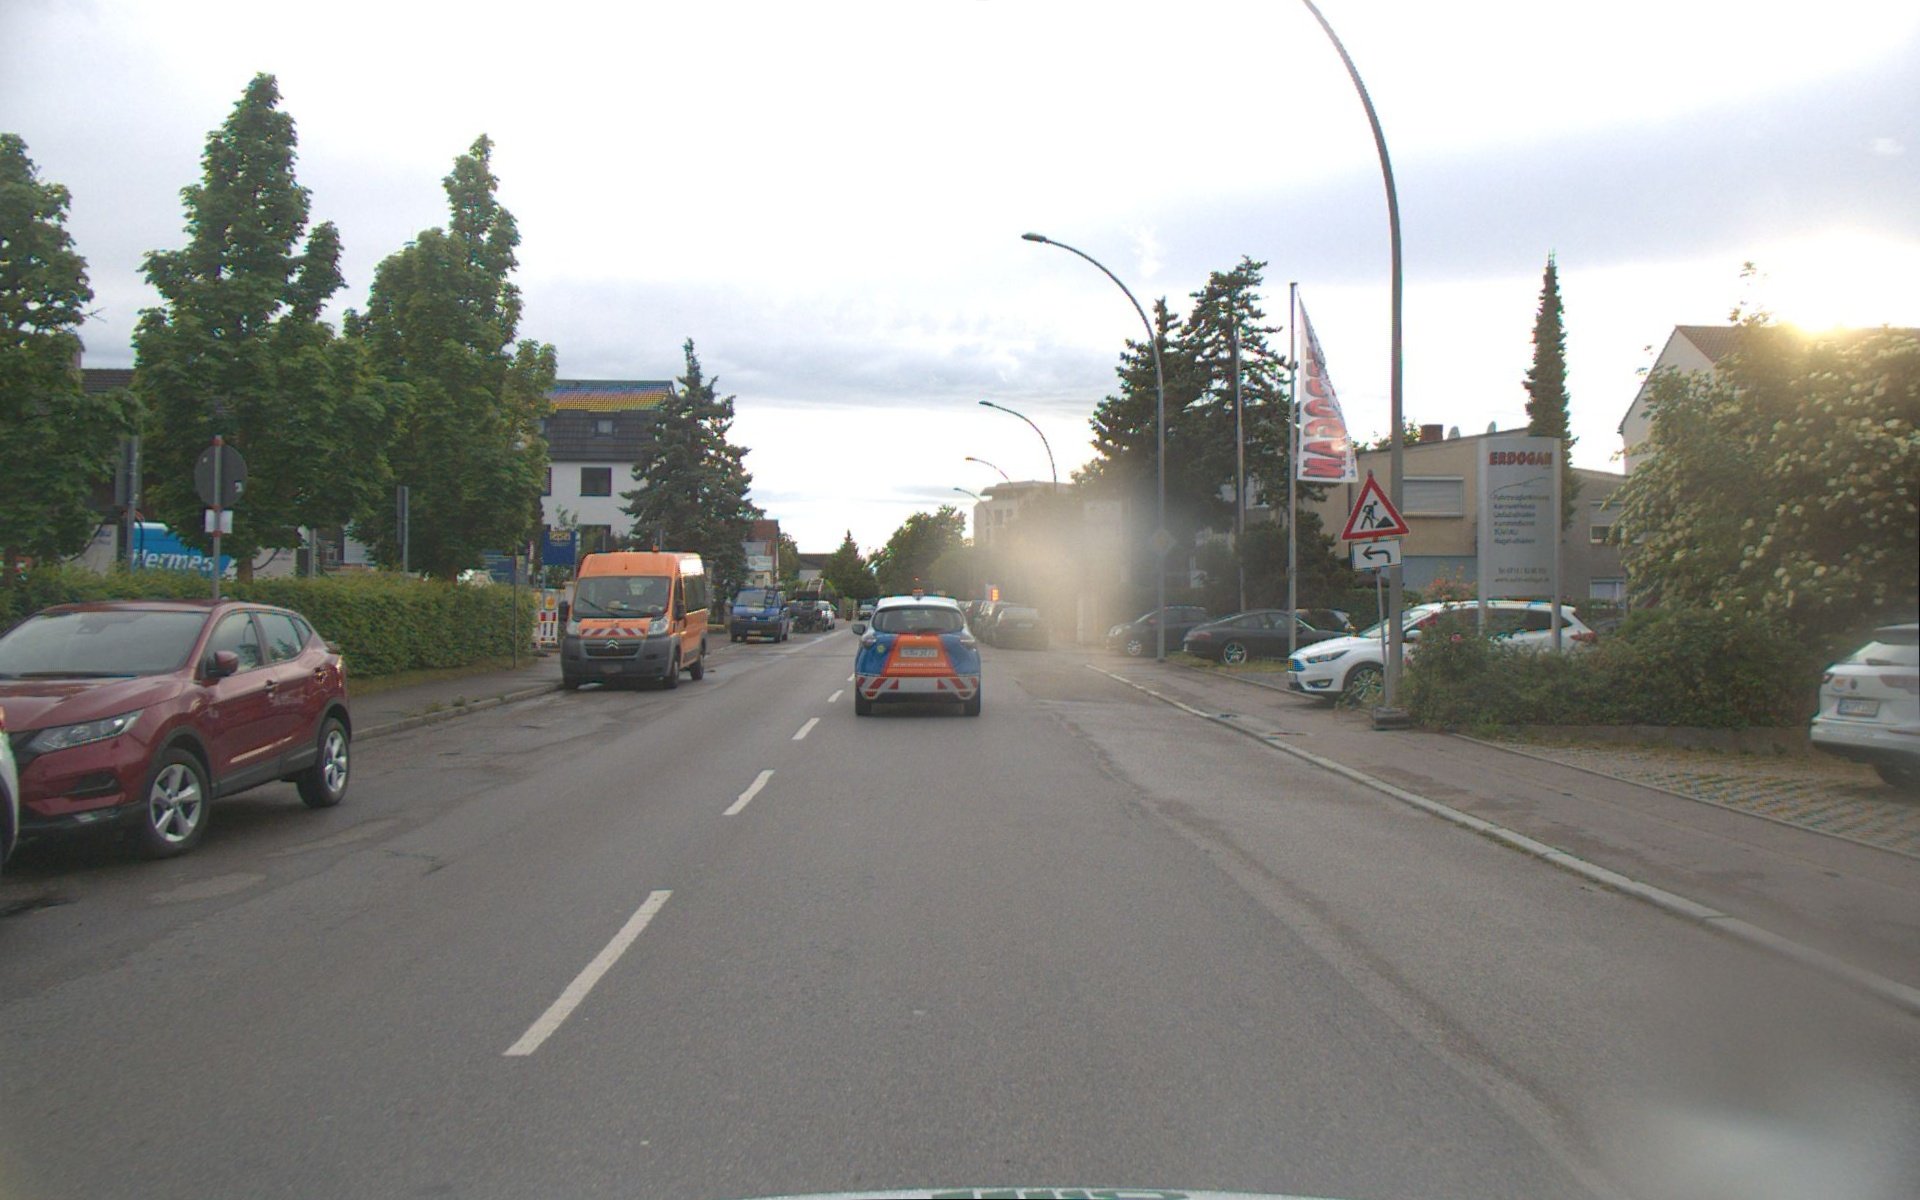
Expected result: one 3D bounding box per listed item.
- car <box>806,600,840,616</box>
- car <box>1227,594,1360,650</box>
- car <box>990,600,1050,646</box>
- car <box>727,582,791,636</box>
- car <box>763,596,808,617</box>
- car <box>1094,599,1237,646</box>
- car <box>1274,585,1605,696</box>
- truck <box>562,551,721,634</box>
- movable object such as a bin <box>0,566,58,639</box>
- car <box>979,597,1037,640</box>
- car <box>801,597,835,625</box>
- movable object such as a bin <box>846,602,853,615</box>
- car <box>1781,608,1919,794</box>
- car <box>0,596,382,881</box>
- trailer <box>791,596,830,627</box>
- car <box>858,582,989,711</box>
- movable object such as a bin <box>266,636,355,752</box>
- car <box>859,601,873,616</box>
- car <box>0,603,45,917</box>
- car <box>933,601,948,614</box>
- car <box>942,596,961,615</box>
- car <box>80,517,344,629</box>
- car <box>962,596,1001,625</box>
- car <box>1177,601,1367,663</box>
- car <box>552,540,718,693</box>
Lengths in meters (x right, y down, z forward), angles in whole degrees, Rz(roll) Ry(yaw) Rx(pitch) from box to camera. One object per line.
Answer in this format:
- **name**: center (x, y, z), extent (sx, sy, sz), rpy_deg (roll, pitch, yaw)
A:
- **car**: center (-13.089, 0.743, 157.825), extent (3.218, 1.473, 1.478), rpy_deg (-1, 0, -6)
- **car**: center (9.906, 0.648, 49.291), extent (3.542, 1.565, 1.858), rpy_deg (1, -1, -3)
- **car**: center (1.938, 0.721, 54.291), extent (1.558, 1.364, 4.090), rpy_deg (3, 0, -3)
- **car**: center (-7.615, 0.350, 63.152), extent (1.953, 1.981, 5.363), rpy_deg (0, -1, -2)
- **car**: center (-13.779, 0.536, 130.944), extent (3.511, 1.553, 1.653), rpy_deg (1, -1, -6)
- **car**: center (6.051, 0.659, 48.972), extent (3.907, 1.288, 1.950), rpy_deg (1, -1, -3)
- **car**: center (6.910, 0.572, 24.114), extent (4.251, 1.501, 1.902), rpy_deg (1, -1, -2)
- **truck**: center (-12.656, -0.291, 66.064), extent (5.791, 3.127, 2.449), rpy_deg (1, -1, -1)
- **movable object such as a bin**: center (-24.888, 0.030, 41.552), extent (3.357, 1.790, 1.996), rpy_deg (1, -1, -8)
- **car**: center (1.665, 0.635, 59.046), extent (1.624, 1.444, 4.773), rpy_deg (1, 0, -4)
- **car**: center (-7.568, 0.601, 88.575), extent (1.526, 1.458, 3.999), rpy_deg (1, 0, -1)
- **movable object such as a bin**: center (-10.142, 0.794, 151.942), extent (0.568, 1.225, 0.318), rpy_deg (1, 0, -2)
- **car**: center (9.391, 0.822, 13.634), extent (4.327, 1.417, 1.879), rpy_deg (1, -1, -3)
- **car**: center (-5.645, 0.789, 11.604), extent (1.769, 1.601, 4.341), rpy_deg (0, 0, -2)
- **trailer**: center (-7.295, 0.528, 80.977), extent (1.683, 1.282, 5.241), rpy_deg (1, 2, -3)
- **car**: center (-0.538, 0.611, 23.115), extent (1.697, 1.659, 3.493), rpy_deg (0, 0, -2)
- **movable object such as a bin**: center (-6.879, 0.987, 17.537), extent (0.658, 1.177, 0.621), rpy_deg (1, -1, 3)
- **car**: center (-9.452, 0.831, 166.960), extent (1.358, 1.509, 3.781), rpy_deg (0, 0, -3)
- **car**: center (-5.488, 0.805, 6.373), extent (1.736, 1.525, 4.135), rpy_deg (0, 1, -2)
- **car**: center (-2.227, 0.844, 188.365), extent (1.617, 1.509, 3.997), rpy_deg (1, 0, -3)
- **car**: center (-0.836, 0.517, 156.469), extent (1.617, 1.701, 3.997), rpy_deg (1, 0, -3)
- **car**: center (-14.703, -0.508, 32.706), extent (4.219, 2.049, 2.062), rpy_deg (1, -1, -1)
- **car**: center (1.096, 0.547, 86.276), extent (1.677, 1.464, 4.523), rpy_deg (1, 0, -4)
- **car**: center (6.982, 0.713, 37.320), extent (3.905, 1.288, 1.951), rpy_deg (1, -1, 0)
- **car**: center (-6.071, 0.270, 31.686), extent (2.082, 2.582, 6.020), rpy_deg (-2, 0, -2)
